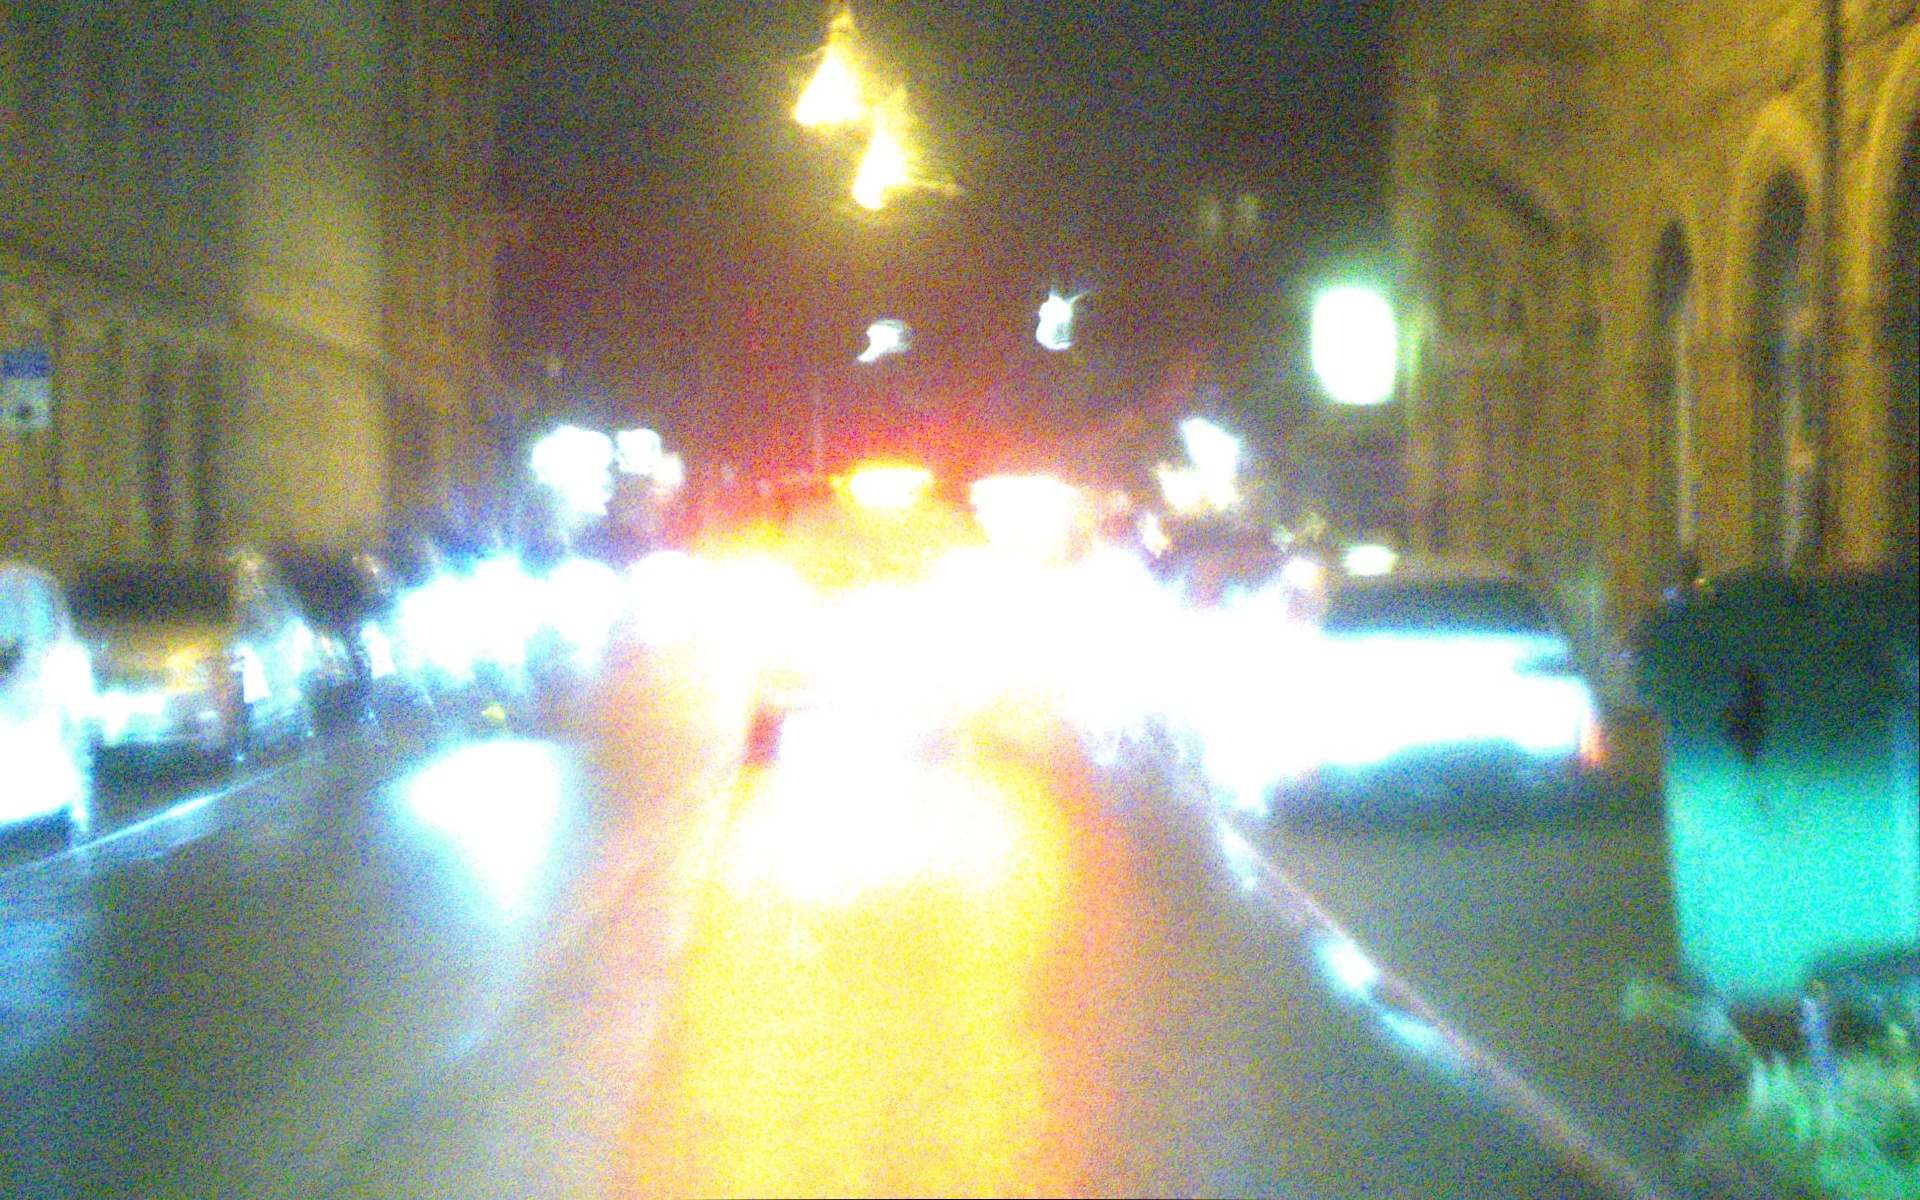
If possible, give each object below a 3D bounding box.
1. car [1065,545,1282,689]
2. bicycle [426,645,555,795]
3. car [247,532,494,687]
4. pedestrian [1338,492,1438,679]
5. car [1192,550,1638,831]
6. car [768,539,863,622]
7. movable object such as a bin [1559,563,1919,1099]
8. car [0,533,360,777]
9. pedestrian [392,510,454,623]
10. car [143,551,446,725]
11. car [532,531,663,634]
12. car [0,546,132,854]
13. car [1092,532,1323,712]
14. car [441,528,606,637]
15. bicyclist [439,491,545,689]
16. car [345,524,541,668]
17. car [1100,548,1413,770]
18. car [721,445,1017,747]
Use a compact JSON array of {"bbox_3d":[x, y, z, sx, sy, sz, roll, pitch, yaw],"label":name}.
[{"bbox_3d":[2.171,0.134,35.963,1.917,1.407,4.000,0,1,-1],"label":"car"},{"bbox_3d":[-3.732,0.932,27.477,0.727,1.069,2.348,0,1,-1],"label":"bicycle"},{"bbox_3d":[-6.005,0.056,35.486,1.832,1.476,4.307,1,1,-1],"label":"car"},{"bbox_3d":[4.209,-0.157,33.901,0.862,1.782,1.083,-1,2,3],"label":"pedestrian"},{"bbox_3d":[2.548,0.447,20.341,1.993,1.459,4.417,0,1,-1],"label":"car"},{"bbox_3d":[-3.027,-0.443,72.494,1.920,1.612,4.575,-1,1,-2],"label":"car"},{"bbox_3d":[2.668,0.611,10.071,1.337,1.424,1.201,0,1,-37],"label":"movable object such as a bin"},{"bbox_3d":[-5.455,0.321,24.214,1.774,1.567,4.135,0,1,-1],"label":"car"},{"bbox_3d":[-8.811,-0.551,56.482,0.743,1.798,0.986,3,0,3],"label":"pedestrian"},{"bbox_3d":[-5.700,0.273,29.947,1.822,1.385,4.426,0,1,-1],"label":"car"},{"bbox_3d":[-6.288,-0.334,60.101,1.832,1.711,4.595,1,1,-1],"label":"car"},{"bbox_3d":[-5.521,0.464,17.590,1.672,1.486,3.722,2,1,-1],"label":"car"},{"bbox_3d":[2.134,0.151,30.502,1.689,1.493,3.892,0,1,-1],"label":"car"},{"bbox_3d":[-6.253,-0.276,49.688,1.832,1.481,4.595,1,1,-1],"label":"car"},{"bbox_3d":[-3.721,-0.085,27.409,0.718,1.551,0.895,0,1,-1],"label":"bicyclist"},{"bbox_3d":[-5.990,-0.078,40.194,1.745,1.583,3.766,1,1,-1],"label":"car"},{"bbox_3d":[2.097,0.370,25.301,1.689,1.493,3.892,0,1,-4],"label":"car"},{"bbox_3d":[-0.624,-0.075,25.822,1.996,2.042,4.694,1,1,0],"label":"car"}]
